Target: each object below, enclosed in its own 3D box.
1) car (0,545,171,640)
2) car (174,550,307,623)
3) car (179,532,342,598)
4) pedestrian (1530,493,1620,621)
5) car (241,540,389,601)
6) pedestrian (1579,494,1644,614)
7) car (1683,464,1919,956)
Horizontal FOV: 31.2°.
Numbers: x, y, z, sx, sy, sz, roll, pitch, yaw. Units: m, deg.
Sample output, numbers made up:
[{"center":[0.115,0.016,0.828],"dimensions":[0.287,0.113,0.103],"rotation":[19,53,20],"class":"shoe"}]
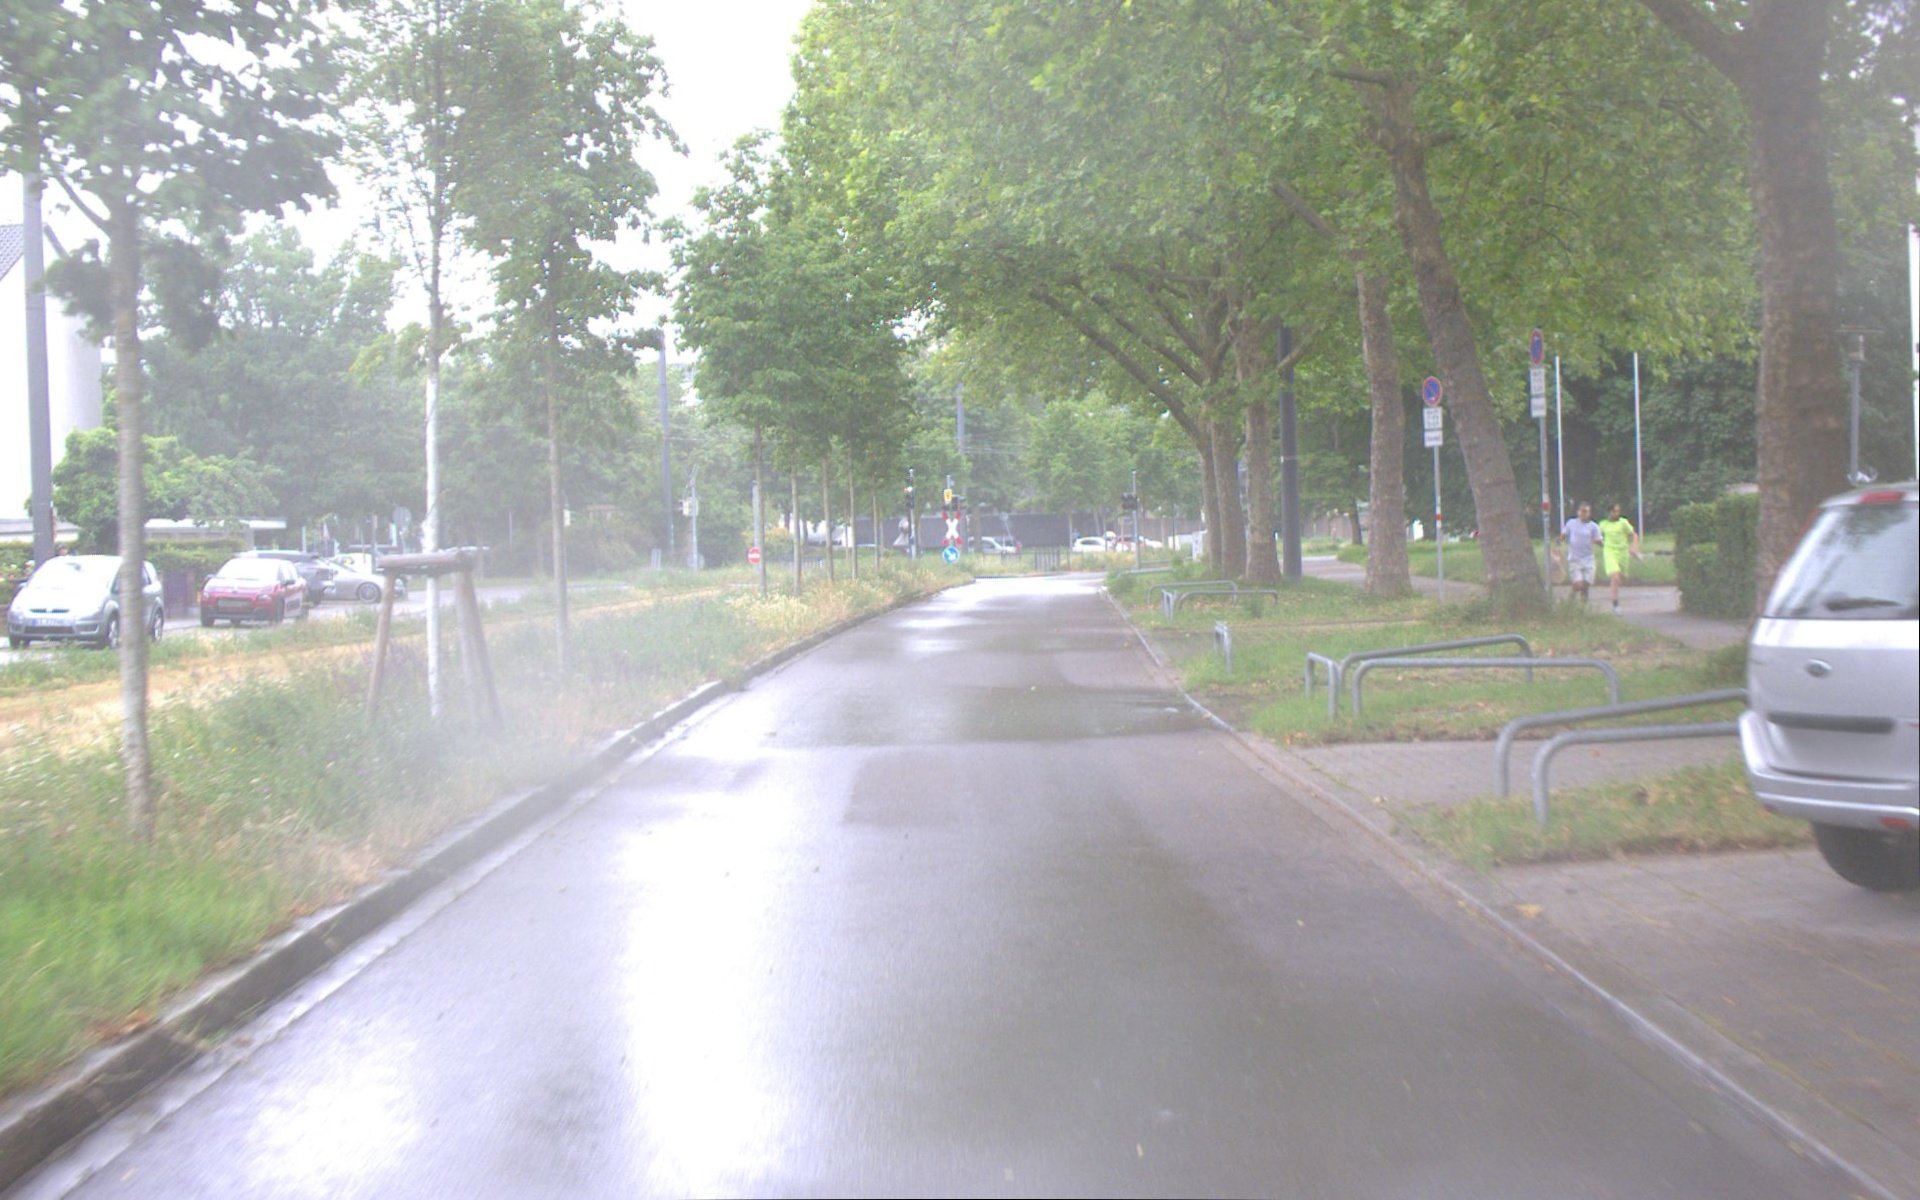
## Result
[{"center":[-15.686,-0.171,61.624],"dimensions":[1.993,1.575,4.517],"rotation":[0,2,1],"class":"car"},{"center":[-15.747,-0.312,75.419],"dimensions":[1.993,1.483,4.206],"rotation":[0,2,1],"class":"car"},{"center":[-19.154,-0.973,94.258],"dimensions":[3.987,1.611,2.000],"rotation":[-3,1,-1],"class":"car"},{"center":[7.644,-0.533,42.760],"dimensions":[0.833,1.533,0.860],"rotation":[-3,1,-4],"class":"pedestrian"},{"center":[-19.182,-0.898,102.412],"dimensions":[3.987,1.611,2.000],"rotation":[-3,1,-1],"class":"car"},{"center":[8.477,-0.600,44.764],"dimensions":[0.556,1.533,0.967],"rotation":[-2,1,-4],"class":"pedestrian"},{"center":[4.730,0.223,12.167],"dimensions":[3.854,1.561,1.620],"rotation":[-4,2,-14],"class":"car"}]
